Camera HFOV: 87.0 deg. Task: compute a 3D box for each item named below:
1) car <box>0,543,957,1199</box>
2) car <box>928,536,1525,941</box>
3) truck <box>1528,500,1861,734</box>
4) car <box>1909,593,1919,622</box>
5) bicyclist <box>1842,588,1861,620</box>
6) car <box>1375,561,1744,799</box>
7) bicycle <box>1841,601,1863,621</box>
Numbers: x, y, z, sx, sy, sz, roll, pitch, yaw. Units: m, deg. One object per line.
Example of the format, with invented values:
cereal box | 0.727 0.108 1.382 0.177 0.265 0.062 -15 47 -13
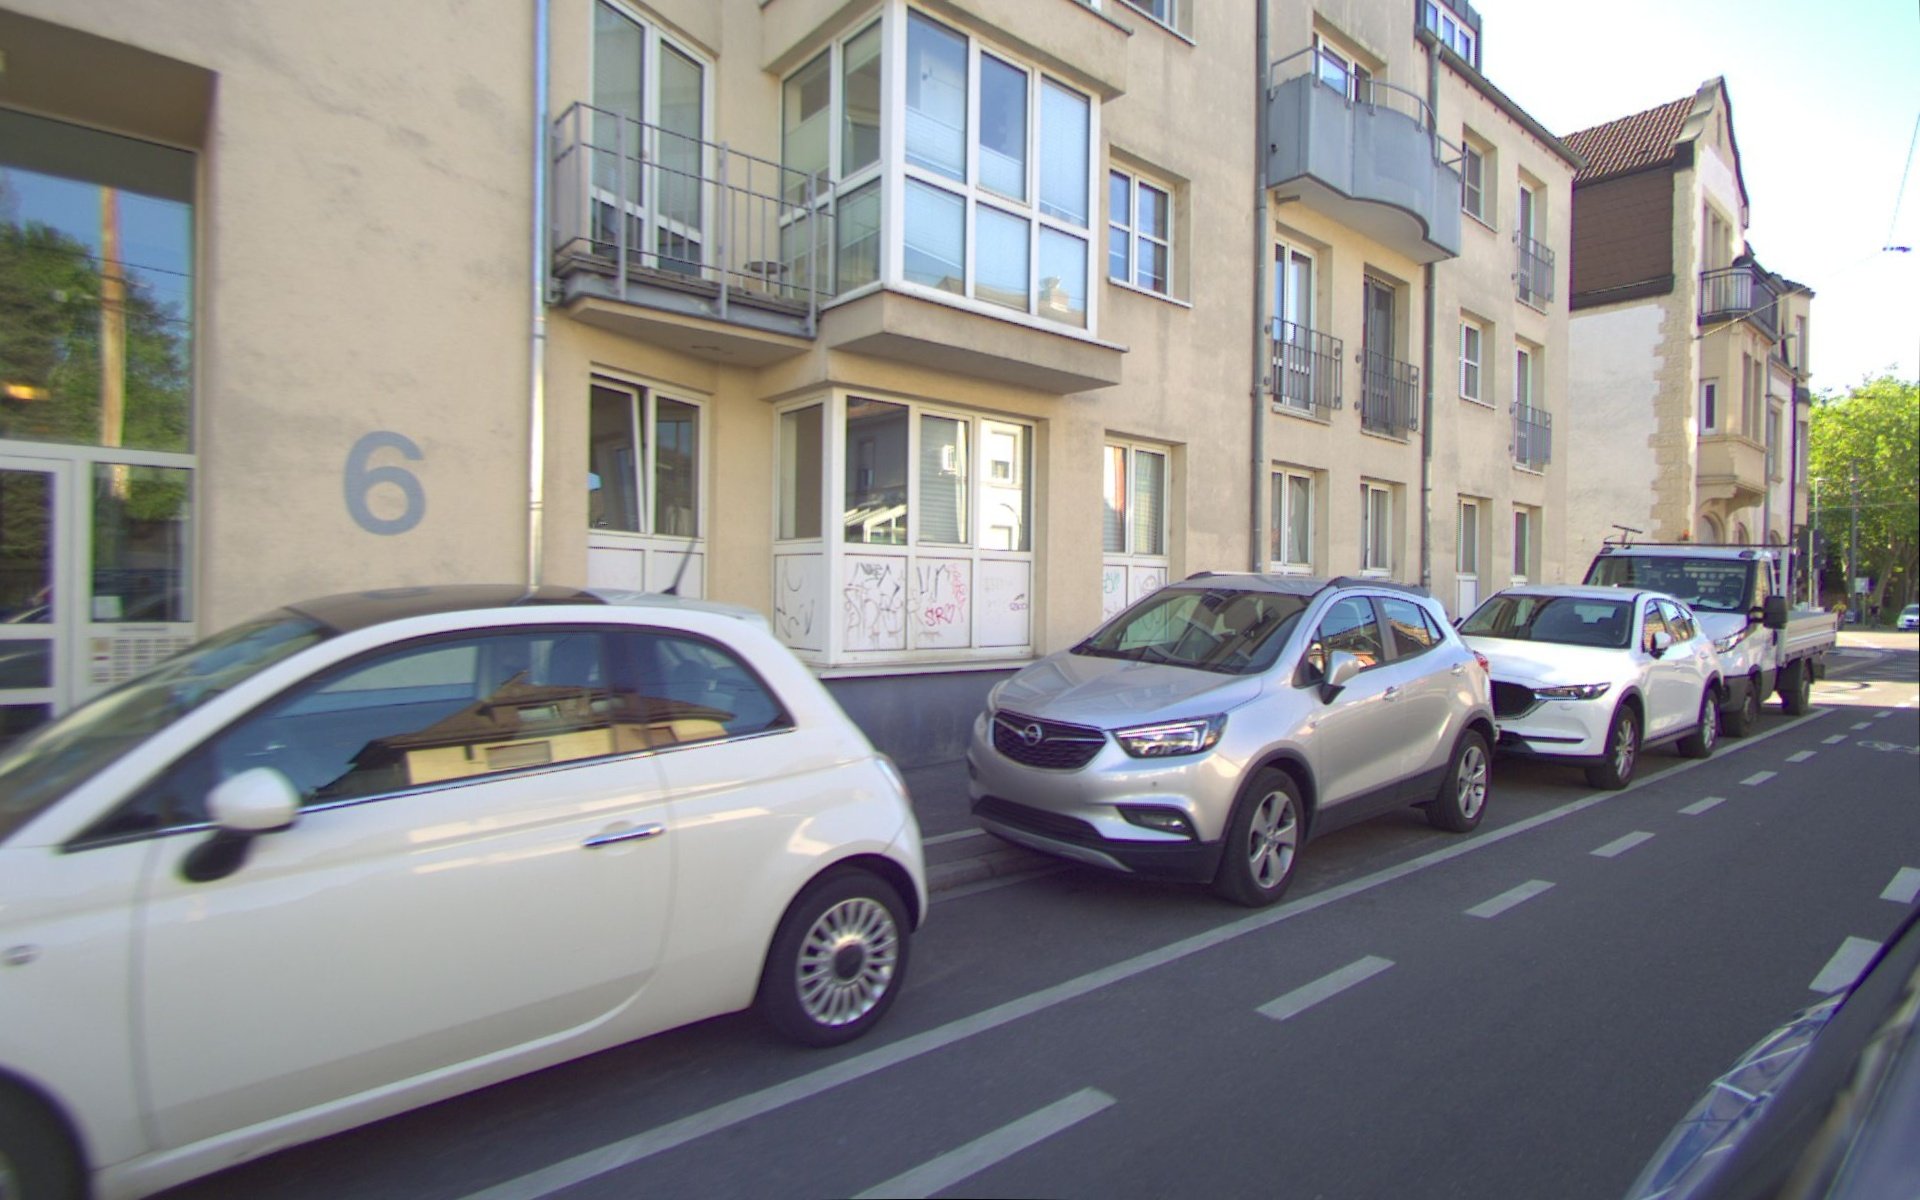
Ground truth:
car | -1.738 0.682 3.100 3.307 1.577 1.498 0 -1 -42
car | 1.829 0.592 6.217 3.919 1.721 1.605 0 -1 -41
truck | 10.106 0.159 13.681 6.038 2.508 2.300 0 1 -41
car | 56.227 0.458 58.288 4.492 1.639 1.909 1 -1 -41
bicyclist | 50.255 0.238 57.052 0.611 1.751 0.669 4 -1 -41
car | 5.780 0.598 9.553 4.181 1.769 1.742 0 -1 -41
bicycle | 50.439 0.613 57.225 2.062 1.047 0.689 3 -1 -41
